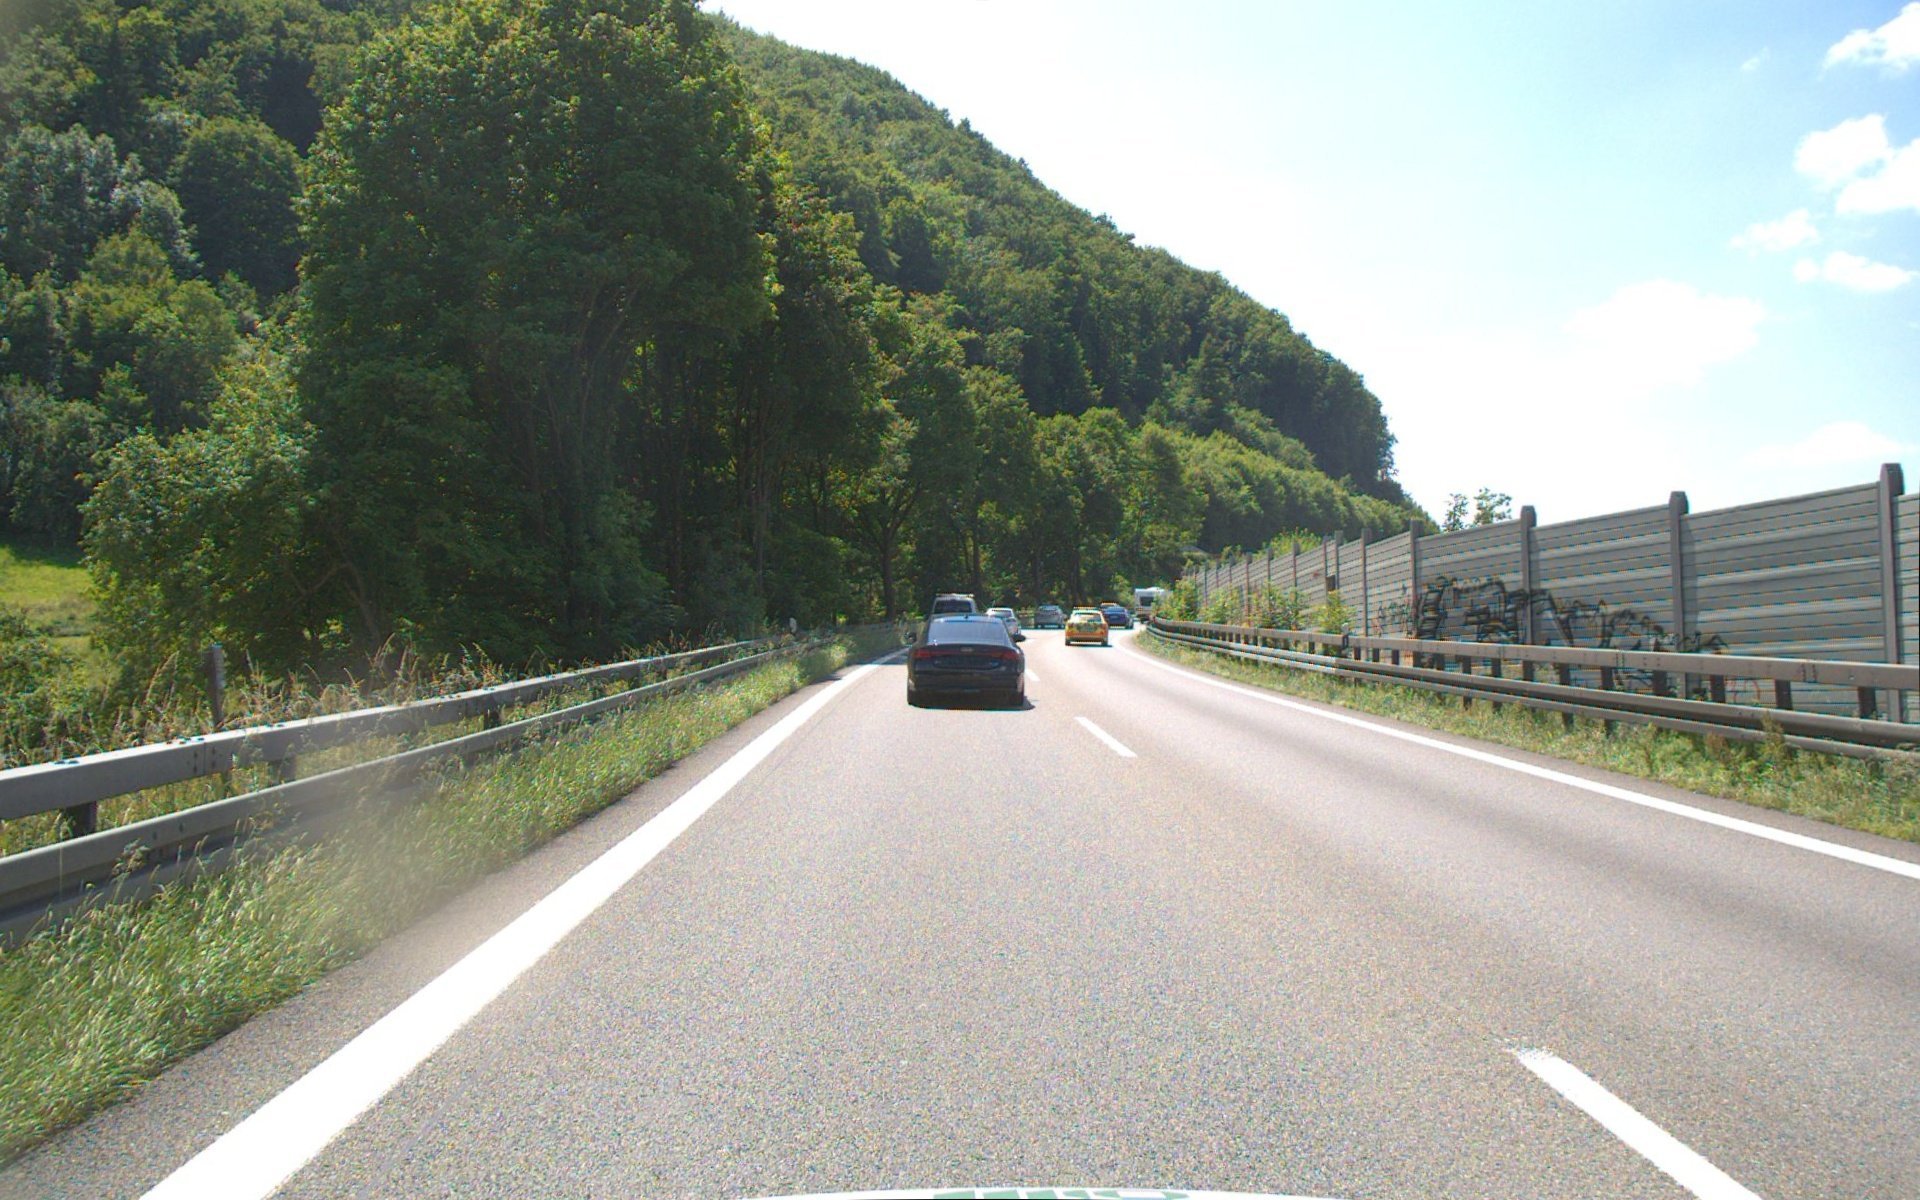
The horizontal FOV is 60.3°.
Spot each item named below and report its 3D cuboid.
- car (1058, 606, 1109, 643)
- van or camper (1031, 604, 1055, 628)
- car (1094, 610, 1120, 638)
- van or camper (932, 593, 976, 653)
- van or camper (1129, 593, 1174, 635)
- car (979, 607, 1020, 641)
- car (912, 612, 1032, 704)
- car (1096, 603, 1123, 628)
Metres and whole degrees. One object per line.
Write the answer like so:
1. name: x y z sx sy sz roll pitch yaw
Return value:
1. car: 5.117 1.022 68.834 1.825 1.514 3.999 0 -1 0
2. van or camper: 5.409 1.033 108.036 1.525 1.561 3.506 0 -1 2
3. car: 11.903 1.935 133.889 1.952 2.048 4.002 -5 -1 5
4. van or camper: -0.214 0.732 53.178 1.363 1.848 3.999 0 -1 -1
5. van or camper: 15.098 1.061 129.869 2.404 2.968 6.131 -6 -1 15
6. car: 1.770 1.075 74.635 1.711 1.456 3.999 0 -1 -1
7. car: 0.144 0.908 27.082 1.800 1.373 3.999 -1 -1 -1
8. car: 9.884 1.032 109.073 1.736 1.665 4.002 0 -1 5
